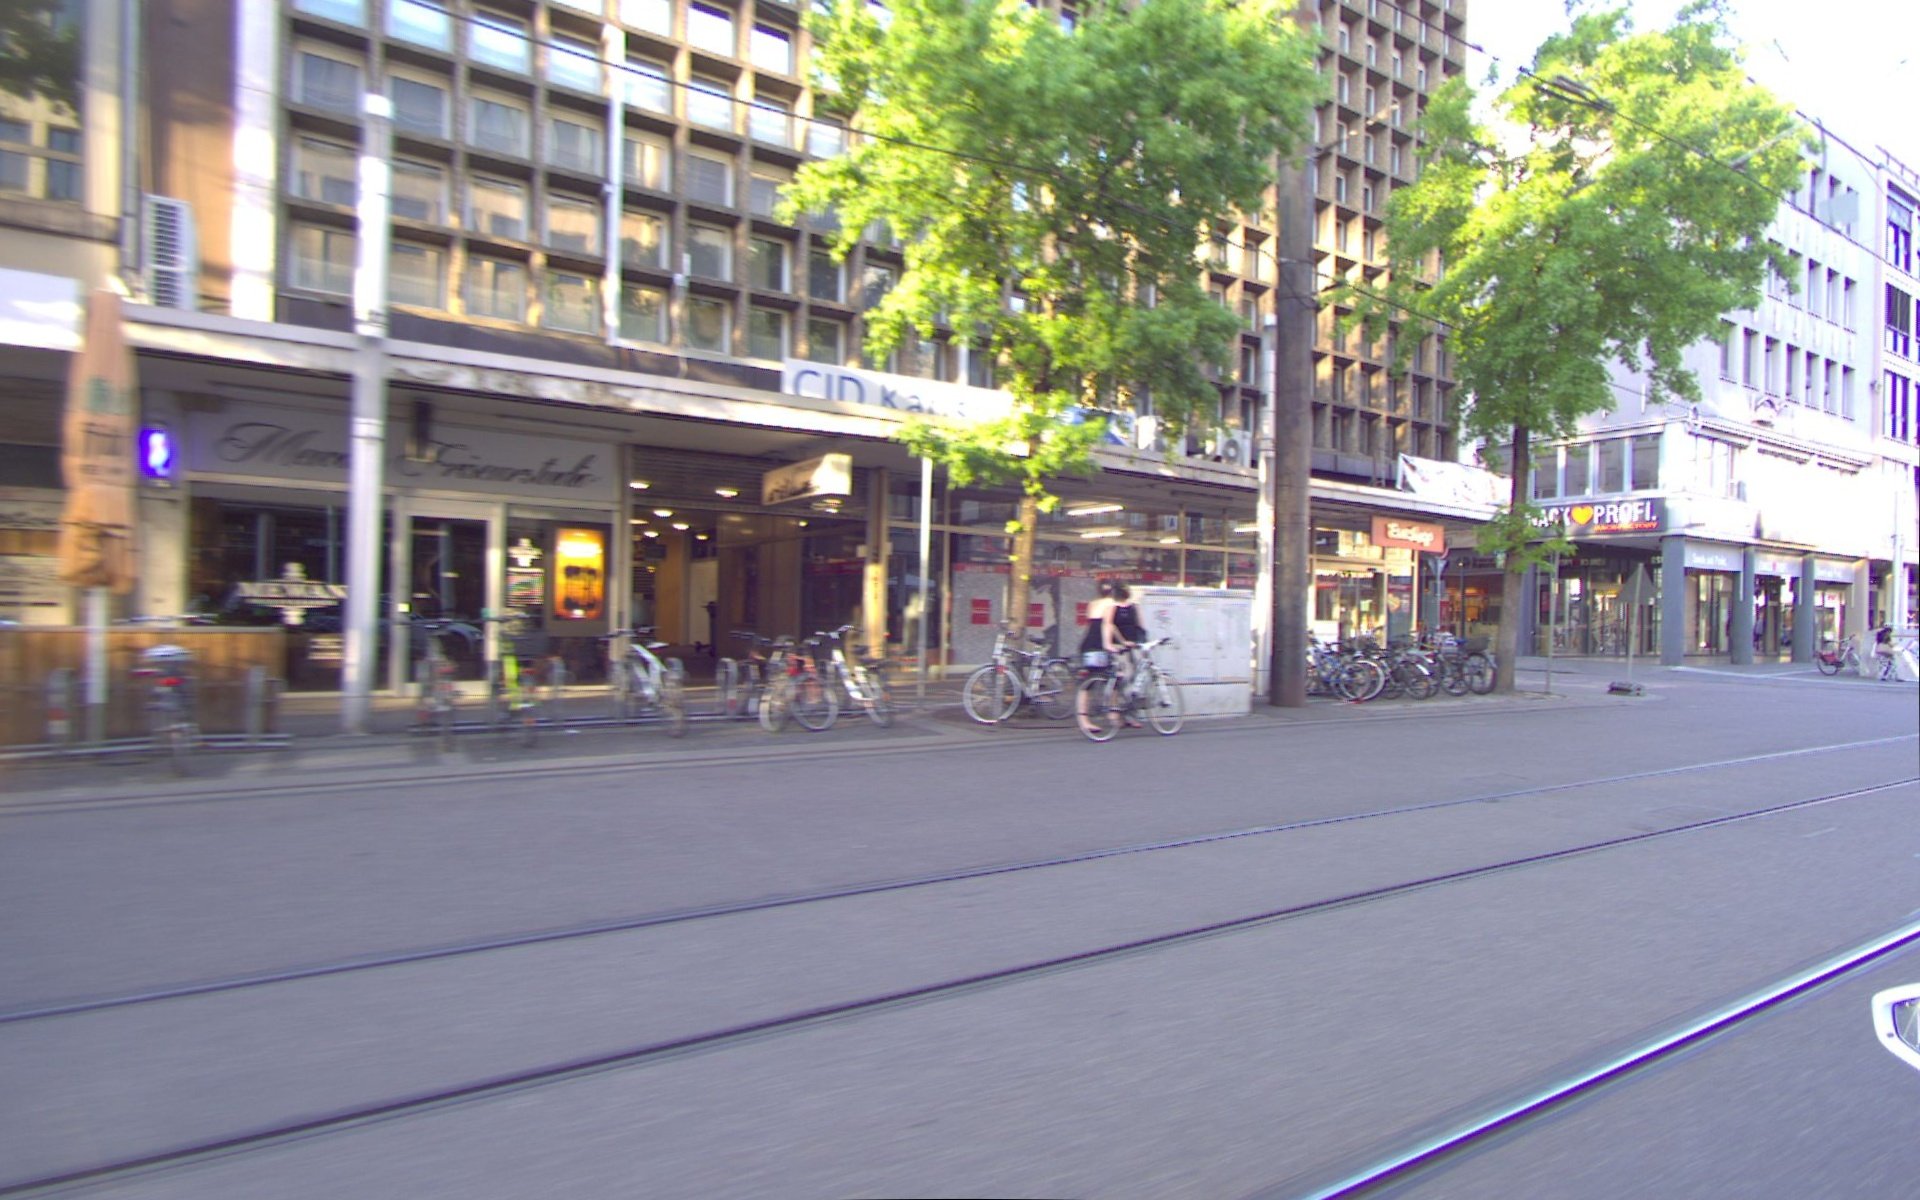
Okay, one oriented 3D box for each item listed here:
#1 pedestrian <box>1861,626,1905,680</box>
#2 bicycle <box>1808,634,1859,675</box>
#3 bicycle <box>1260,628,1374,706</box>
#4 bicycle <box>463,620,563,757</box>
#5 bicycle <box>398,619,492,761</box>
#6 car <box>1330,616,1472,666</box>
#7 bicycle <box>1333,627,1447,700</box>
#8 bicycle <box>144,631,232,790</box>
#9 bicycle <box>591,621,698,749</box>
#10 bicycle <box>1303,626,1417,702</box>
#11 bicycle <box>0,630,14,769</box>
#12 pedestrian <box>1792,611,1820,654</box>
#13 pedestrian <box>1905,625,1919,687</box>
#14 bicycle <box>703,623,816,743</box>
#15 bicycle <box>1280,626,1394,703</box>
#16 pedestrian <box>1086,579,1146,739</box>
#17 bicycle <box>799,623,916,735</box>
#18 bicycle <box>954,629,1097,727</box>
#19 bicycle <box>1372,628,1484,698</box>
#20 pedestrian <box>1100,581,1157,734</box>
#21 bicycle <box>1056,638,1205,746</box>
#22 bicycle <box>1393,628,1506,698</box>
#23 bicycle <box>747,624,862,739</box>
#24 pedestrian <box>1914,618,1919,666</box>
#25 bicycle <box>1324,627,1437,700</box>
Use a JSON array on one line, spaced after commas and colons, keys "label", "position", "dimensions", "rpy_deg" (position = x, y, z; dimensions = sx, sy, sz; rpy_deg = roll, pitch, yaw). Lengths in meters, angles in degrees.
[{"label": "pedestrian", "position": [25.317, 1.449, 27.550], "dimensions": [0.671, 1.453, 0.556], "rpy_deg": [1, -1, 7]}, {"label": "bicycle", "position": [25.696, 1.584, 29.536], "dimensions": [1.776, 1.122, 0.497], "rpy_deg": [0, 0, -27]}, {"label": "bicycle", "position": [5.540, 1.020, 15.704], "dimensions": [0.484, 1.059, 1.763], "rpy_deg": [0, 1, -31]}, {"label": "bicycle", "position": [-4.236, 0.774, 9.457], "dimensions": [0.485, 1.085, 1.759], "rpy_deg": [0, 2, -36]}, {"label": "bicycle", "position": [-4.711, 0.759, 9.137], "dimensions": [0.485, 1.085, 1.759], "rpy_deg": [0, 2, -36]}, {"label": "car", "position": [14.825, 1.353, 33.959], "dimensions": [1.781, 1.530, 4.095], "rpy_deg": [2, -1, -33]}, {"label": "bicycle", "position": [7.113, 1.024, 16.702], "dimensions": [0.484, 1.059, 1.763], "rpy_deg": [0, 1, -31]}, {"label": "bicycle", "position": [-5.992, 0.799, 7.841], "dimensions": [0.485, 1.003, 1.759], "rpy_deg": [0, 2, -36]}, {"label": "bicycle", "position": [-3.221, 0.805, 10.150], "dimensions": [0.485, 1.085, 1.759], "rpy_deg": [0, 2, -36]}, {"label": "bicycle", "position": [6.435, 1.003, 16.254], "dimensions": [0.484, 1.059, 1.763], "rpy_deg": [0, 1, -31]}, {"label": "bicycle", "position": [-7.179, 0.762, 7.107], "dimensions": [0.485, 1.003, 1.759], "rpy_deg": [0, 2, -36]}, {"label": "pedestrian", "position": [35.574, 1.367, 42.222], "dimensions": [0.702, 1.748, 0.709], "rpy_deg": [2, -1, -33]}, {"label": "pedestrian", "position": [23.818, 1.395, 24.832], "dimensions": [0.551, 1.513, 0.599], "rpy_deg": [2, -1, -39]}, {"label": "bicycle", "position": [-2.182, 0.837, 10.761], "dimensions": [0.485, 1.085, 1.759], "rpy_deg": [0, 2, -36]}, {"label": "bicycle", "position": [5.955, 0.989, 15.957], "dimensions": [0.484, 1.059, 1.763], "rpy_deg": [0, 1, -31]}, {"label": "pedestrian", "position": [1.716, 0.635, 11.097], "dimensions": [0.525, 1.722, 0.603], "rpy_deg": [1, 1, -2]}, {"label": "bicycle", "position": [-1.200, 0.849, 11.427], "dimensions": [0.485, 1.085, 1.759], "rpy_deg": [0, 2, -36]}, {"label": "bicycle", "position": [0.795, 0.888, 11.853], "dimensions": [1.759, 1.059, 0.485], "rpy_deg": [1, 1, -35]}, {"label": "bicycle", "position": [8.003, 1.052, 17.257], "dimensions": [0.484, 1.059, 1.763], "rpy_deg": [0, 1, -31]}, {"label": "pedestrian", "position": [1.945, 0.644, 11.641], "dimensions": [0.525, 1.722, 0.603], "rpy_deg": [1, 1, -2]}, {"label": "bicycle", "position": [1.876, 0.967, 10.939], "dimensions": [1.759, 1.059, 0.485], "rpy_deg": [1, 1, -35]}, {"label": "bicycle", "position": [8.508, 1.067, 17.530], "dimensions": [0.484, 1.059, 1.763], "rpy_deg": [0, 1, -31]}, {"label": "bicycle", "position": [-1.753, 0.851, 11.094], "dimensions": [0.485, 1.085, 1.759], "rpy_deg": [0, 2, -36]}, {"label": "pedestrian", "position": [35.752, 1.553, 37.034], "dimensions": [0.702, 1.748, 0.709], "rpy_deg": [2, -1, -33]}, {"label": "bicycle", "position": [6.909, 1.018, 16.577], "dimensions": [0.484, 1.059, 1.763], "rpy_deg": [0, 1, -31]}]
